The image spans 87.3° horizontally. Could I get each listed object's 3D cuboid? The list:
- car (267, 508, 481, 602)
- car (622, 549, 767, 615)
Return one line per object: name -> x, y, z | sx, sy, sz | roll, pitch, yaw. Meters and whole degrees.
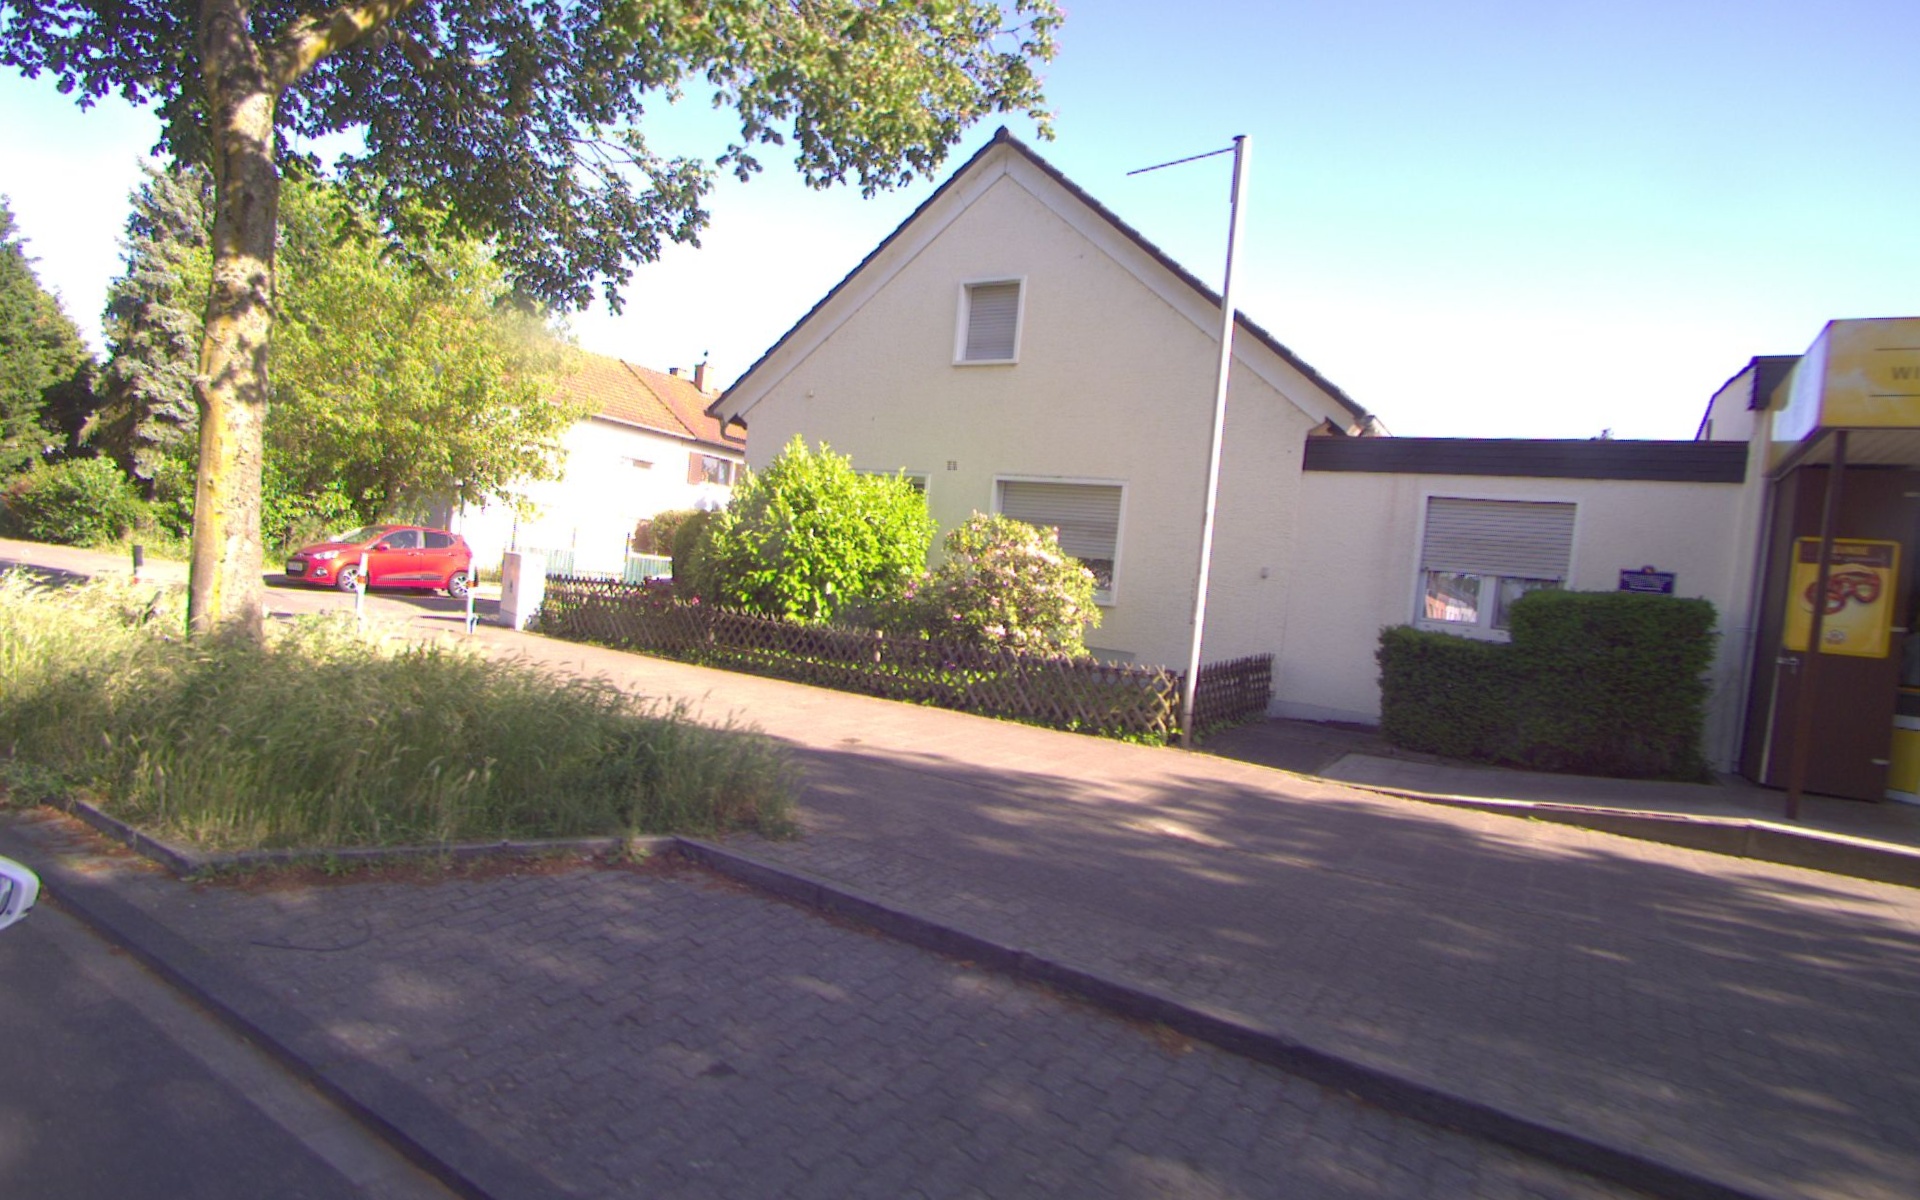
car -> -12.428, -0.905, 21.542 | 1.611, 1.530, 3.546 | 8, 1, 28
car -> -7.711, -0.485, 29.597 | 1.811, 1.530, 3.959 | 7, 1, 28
